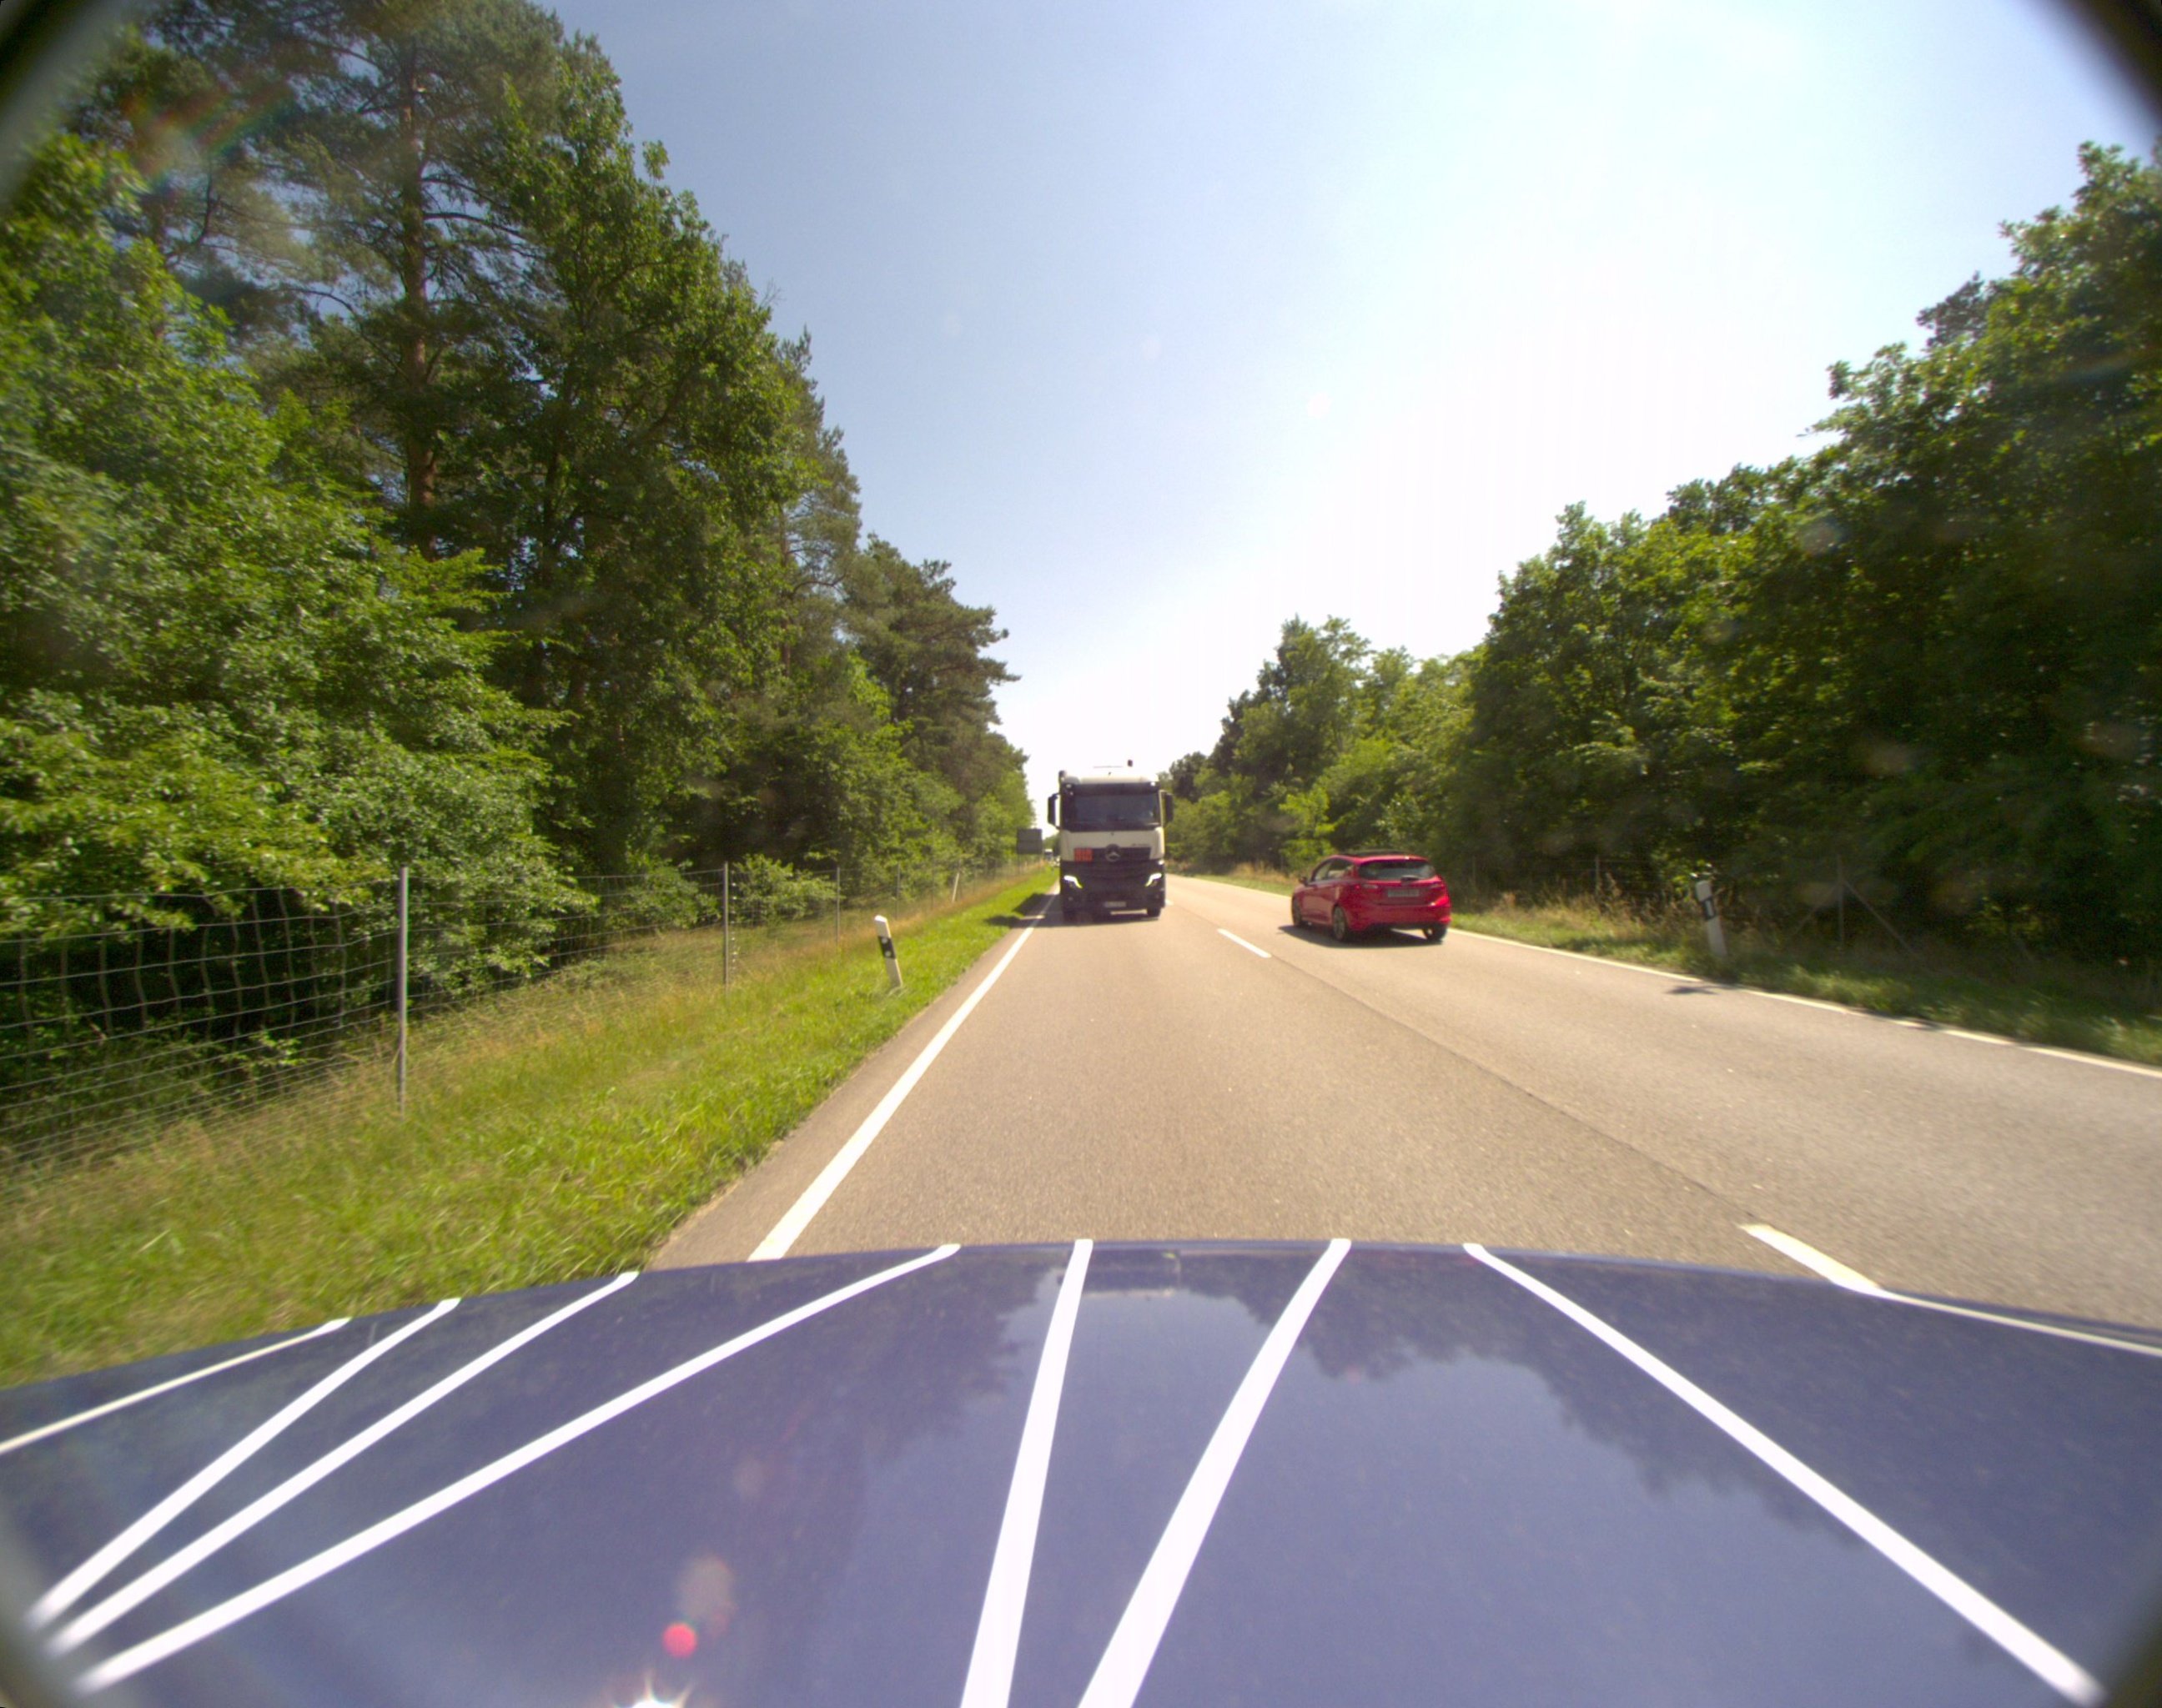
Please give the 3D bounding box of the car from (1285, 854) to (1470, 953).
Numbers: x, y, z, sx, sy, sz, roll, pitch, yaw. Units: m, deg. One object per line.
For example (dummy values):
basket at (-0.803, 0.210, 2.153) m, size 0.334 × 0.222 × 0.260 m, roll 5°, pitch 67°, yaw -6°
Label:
car at (4.997, 0.751, 13.401) m, size 1.783 × 1.443 × 3.793 m, roll -1°, pitch 0°, yaw 0°

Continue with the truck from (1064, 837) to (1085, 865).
truck at (-0.818, -0.363, 103.351) m, size 2.493 × 3.619 × 6.104 m, roll -2°, pitch 0°, yaw 2°

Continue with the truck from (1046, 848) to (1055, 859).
truck at (-10.087, -0.196, 251.369) m, size 2.495 × 3.619 × 6.101 m, roll -1°, pitch 0°, yaw -4°

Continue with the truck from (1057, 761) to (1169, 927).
truck at (0.688, -0.218, 20.419) m, size 2.435 × 3.672 × 6.456 m, roll -2°, pitch 0°, yaw -1°
